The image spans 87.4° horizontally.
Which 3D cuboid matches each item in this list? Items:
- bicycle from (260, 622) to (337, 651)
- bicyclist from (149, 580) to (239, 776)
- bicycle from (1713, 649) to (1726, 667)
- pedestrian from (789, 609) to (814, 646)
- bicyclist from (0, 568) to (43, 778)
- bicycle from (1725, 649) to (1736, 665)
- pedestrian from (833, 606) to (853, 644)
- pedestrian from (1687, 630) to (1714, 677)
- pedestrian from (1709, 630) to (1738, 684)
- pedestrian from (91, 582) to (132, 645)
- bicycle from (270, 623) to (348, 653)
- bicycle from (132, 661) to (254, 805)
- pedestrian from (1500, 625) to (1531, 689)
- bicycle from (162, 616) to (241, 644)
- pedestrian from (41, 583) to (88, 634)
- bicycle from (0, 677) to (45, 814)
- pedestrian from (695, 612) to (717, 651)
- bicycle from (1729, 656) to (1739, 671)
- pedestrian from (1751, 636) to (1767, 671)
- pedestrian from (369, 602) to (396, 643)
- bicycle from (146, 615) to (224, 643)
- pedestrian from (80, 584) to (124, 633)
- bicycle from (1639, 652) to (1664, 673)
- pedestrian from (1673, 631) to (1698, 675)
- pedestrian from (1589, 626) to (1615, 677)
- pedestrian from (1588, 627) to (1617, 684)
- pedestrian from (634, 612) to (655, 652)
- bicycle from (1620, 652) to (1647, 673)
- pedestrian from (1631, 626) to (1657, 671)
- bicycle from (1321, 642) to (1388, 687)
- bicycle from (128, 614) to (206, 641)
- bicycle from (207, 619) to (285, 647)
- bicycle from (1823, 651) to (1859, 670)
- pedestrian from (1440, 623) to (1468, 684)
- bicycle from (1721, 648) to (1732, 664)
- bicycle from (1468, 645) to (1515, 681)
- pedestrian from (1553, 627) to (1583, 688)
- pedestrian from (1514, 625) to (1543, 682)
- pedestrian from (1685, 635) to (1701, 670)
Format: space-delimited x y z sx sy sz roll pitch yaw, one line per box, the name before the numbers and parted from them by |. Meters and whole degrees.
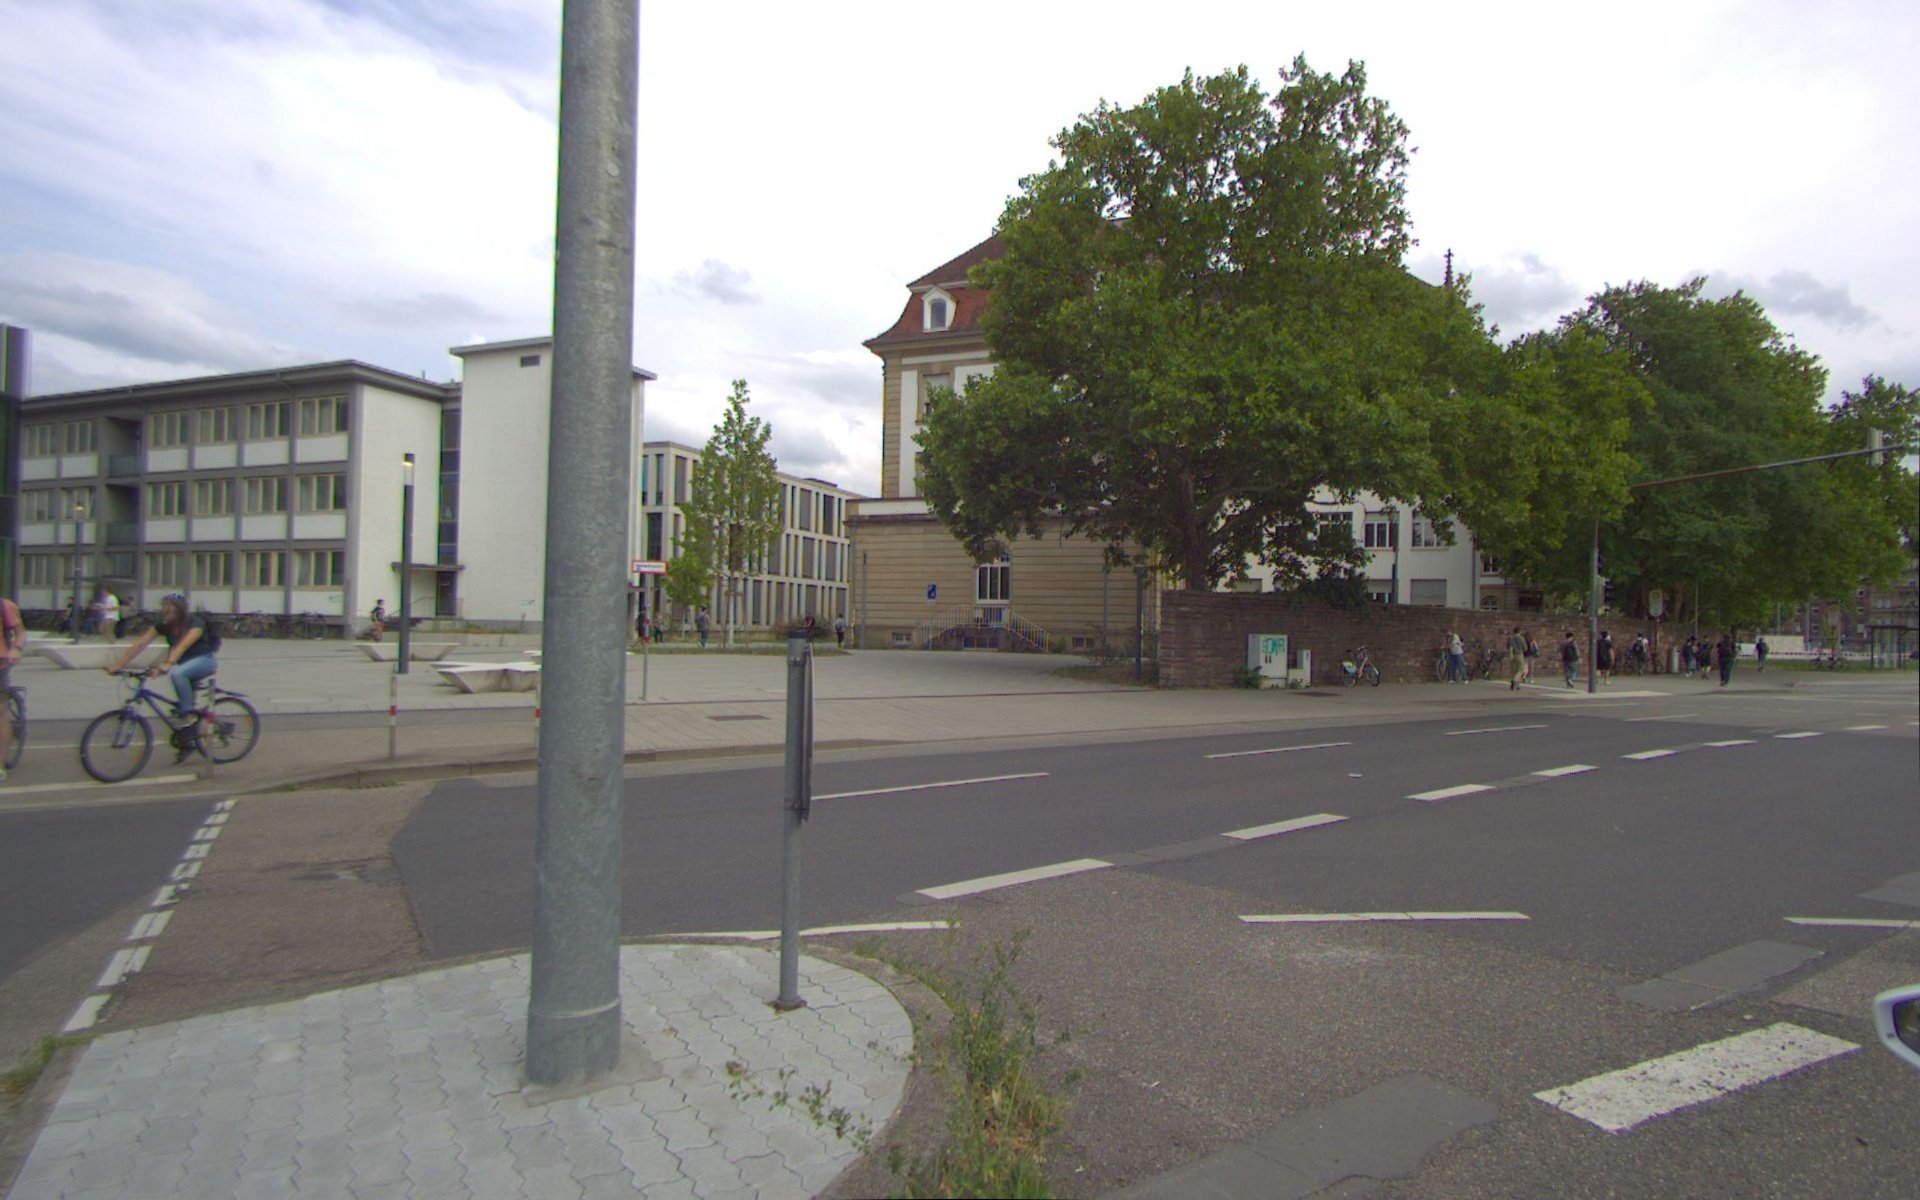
bicycle | -27.089 1.479 41.202 0.731 1.149 2.672 1 -1 23
bicyclist | -7.504 0.738 9.841 0.593 1.831 0.559 2 0 43
bicycle | 41.096 3.130 54.333 0.411 0.890 1.547 3 0 42
pedestrian | -8.929 1.543 56.537 0.899 2.040 1.232 1 -1 18
bicyclist | -8.597 0.631 8.940 0.593 1.831 0.559 2 0 43
bicycle | 44.373 3.291 57.816 0.435 0.890 1.614 3 0 39
pedestrian | -6.349 1.369 54.619 0.778 2.040 0.836 1 -1 18
pedestrian | 29.311 2.135 39.789 0.748 1.805 0.922 1 -2 31
pedestrian | 26.241 1.956 34.536 0.749 1.805 0.719 1 -2 36
pedestrian | -24.632 0.389 29.160 0.584 1.802 0.637 1 -1 12
bicycle | -26.142 1.505 40.402 0.731 1.149 2.672 1 -1 23
bicycle | -7.476 1.231 9.763 1.868 1.185 0.604 0 -1 43
pedestrian | 16.218 1.664 29.358 0.733 1.805 0.783 1 -2 27
bicycle | -32.628 1.298 43.264 0.731 1.149 2.672 1 -1 23
pedestrian | -35.236 0.343 39.528 1.050 1.956 0.974 1 -1 23
bicycle | -8.626 1.261 8.947 1.668 1.002 0.568 2 0 44
pedestrian | -10.580 1.314 41.879 0.726 1.569 0.699 2 -1 -27
bicycle | 47.513 3.894 61.682 0.475 0.919 1.615 0 -2 37
pedestrian | 39.226 2.626 49.287 0.554 1.690 0.623 1 -2 43
pedestrian | -22.568 0.868 39.235 0.644 1.569 0.599 1 -1 9
bicycle | -33.725 1.263 43.780 0.731 1.149 2.672 1 -1 23
pedestrian | -34.992 0.367 40.969 1.050 1.956 0.974 1 -1 23
bicycle | 29.423 2.647 42.731 1.607 0.807 0.437 1 2 -40
pedestrian | 30.181 2.202 41.793 0.748 1.805 0.782 1 -2 31
pedestrian | 23.481 1.882 36.734 0.748 1.805 0.913 1 -2 31
pedestrian | 21.138 1.816 33.054 0.748 1.805 0.782 1 -2 31
pedestrian | -12.427 1.258 39.570 0.649 1.569 0.705 2 -1 -27
bicycle | 27.696 2.558 41.294 1.607 0.807 0.437 1 2 -40
pedestrian | 26.852 1.897 39.436 0.748 1.693 0.922 1 0 31
bicycle | 10.809 1.753 27.462 2.143 1.141 0.573 2 2 -35
bicycle | -34.945 1.224 44.314 0.731 1.149 2.672 1 -1 23
bicycle | -30.148 1.380 42.461 0.731 1.149 2.672 1 -1 23
bicycle | 46.984 3.228 53.567 2.305 0.931 0.469 2 -1 -23
pedestrian | 15.088 1.617 30.685 0.733 1.805 0.783 1 -2 25
bicycle | 42.670 3.122 55.912 0.343 0.890 1.514 3 0 42
bicycle | 17.199 2.020 32.487 1.962 1.072 0.544 2 2 -37
pedestrian | 18.716 1.765 30.920 0.748 1.805 0.782 1 -2 30
pedestrian | 18.428 1.728 32.561 0.747 1.805 0.783 1 -2 28
pedestrian | 33.945 2.424 46.520 0.578 1.613 0.733 1 -2 37
